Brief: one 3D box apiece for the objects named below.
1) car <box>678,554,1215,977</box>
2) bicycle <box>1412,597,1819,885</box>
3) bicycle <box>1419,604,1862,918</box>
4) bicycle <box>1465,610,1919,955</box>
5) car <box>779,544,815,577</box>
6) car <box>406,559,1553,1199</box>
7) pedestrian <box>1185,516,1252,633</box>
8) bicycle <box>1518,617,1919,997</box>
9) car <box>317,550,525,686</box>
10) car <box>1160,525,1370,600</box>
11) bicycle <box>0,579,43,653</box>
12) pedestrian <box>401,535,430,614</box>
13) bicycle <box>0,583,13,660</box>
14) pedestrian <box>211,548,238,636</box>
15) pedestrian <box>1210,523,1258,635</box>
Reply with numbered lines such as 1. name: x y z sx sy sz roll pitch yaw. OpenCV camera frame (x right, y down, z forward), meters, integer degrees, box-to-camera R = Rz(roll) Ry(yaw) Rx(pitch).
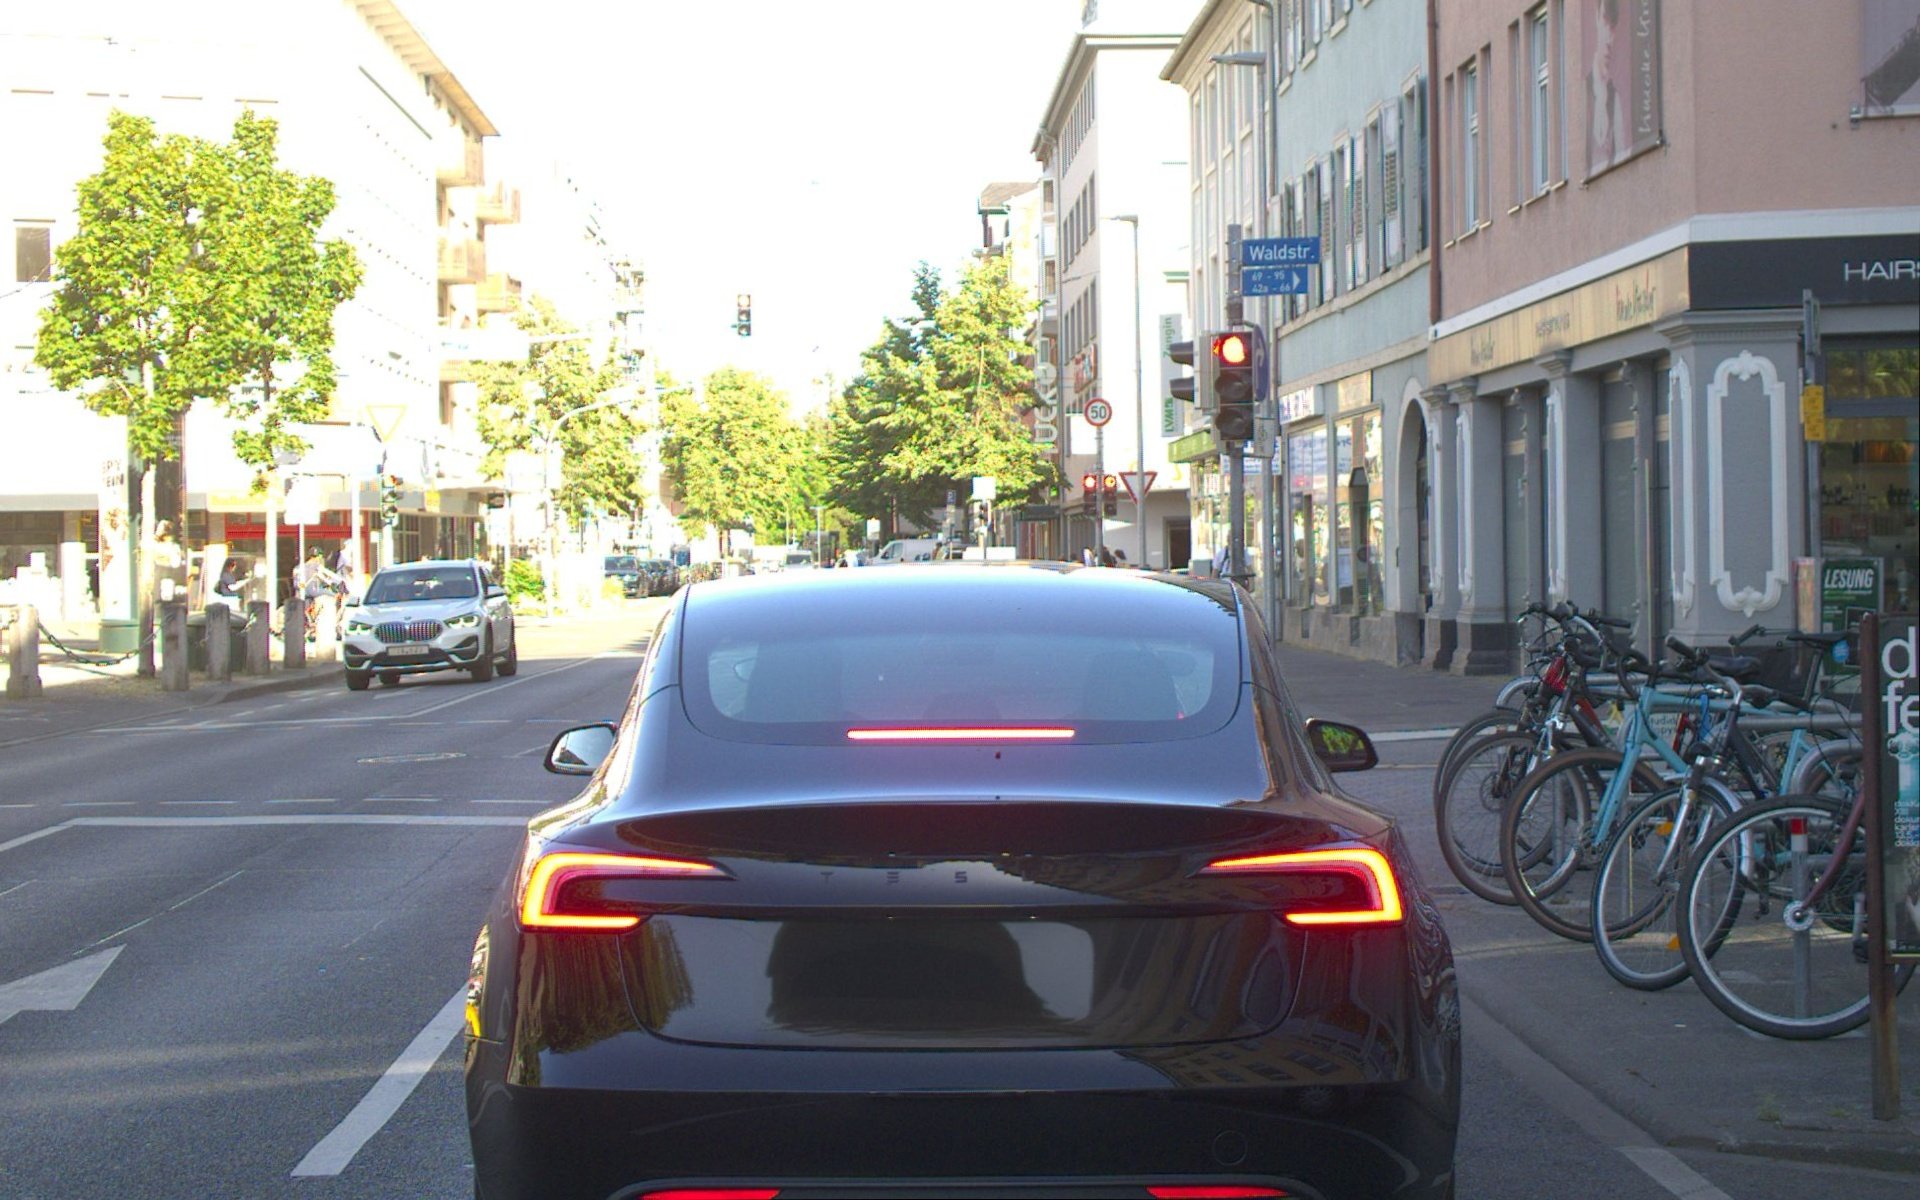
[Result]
1. car: -0.041 0.548 13.756 1.850 1.450 3.786 0 1 0
2. bicycle: 2.804 0.598 14.771 1.628 1.156 0.433 -2 1 1
3. bicycle: 2.679 0.627 13.604 1.627 1.156 0.433 -2 1 -1
4. bicycle: 2.684 0.646 12.386 1.627 1.156 0.433 -2 1 -1
5. car: -8.456 -2.050 178.632 1.829 1.718 4.000 0 1 -2
6. car: 0.036 0.644 7.445 1.850 1.450 3.786 0 1 0
7. pedestrian: 4.084 -0.409 54.394 0.999 1.844 0.615 0 1 -1
8. bicycle: 2.699 0.659 11.248 1.627 1.156 0.433 -2 1 -1
9. car: -6.875 0.197 44.237 1.993 1.535 4.000 -4 1 -1
10. car: 7.138 -0.890 80.273 4.641 1.721 2.056 0 1 13
11. bicycle: -15.064 0.238 52.180 2.082 1.100 0.806 0 1 -1
12. pedestrian: -13.897 -0.656 87.757 0.626 2.007 0.707 0 1 -1
13. bicycle: -14.925 0.309 49.987 2.082 1.100 0.806 0 1 -1
14. pedestrian: -13.364 -0.148 62.478 0.385 1.586 0.706 0 1 -5
15. pedestrian: 4.338 -0.335 54.417 0.704 1.777 0.533 0 1 -1
